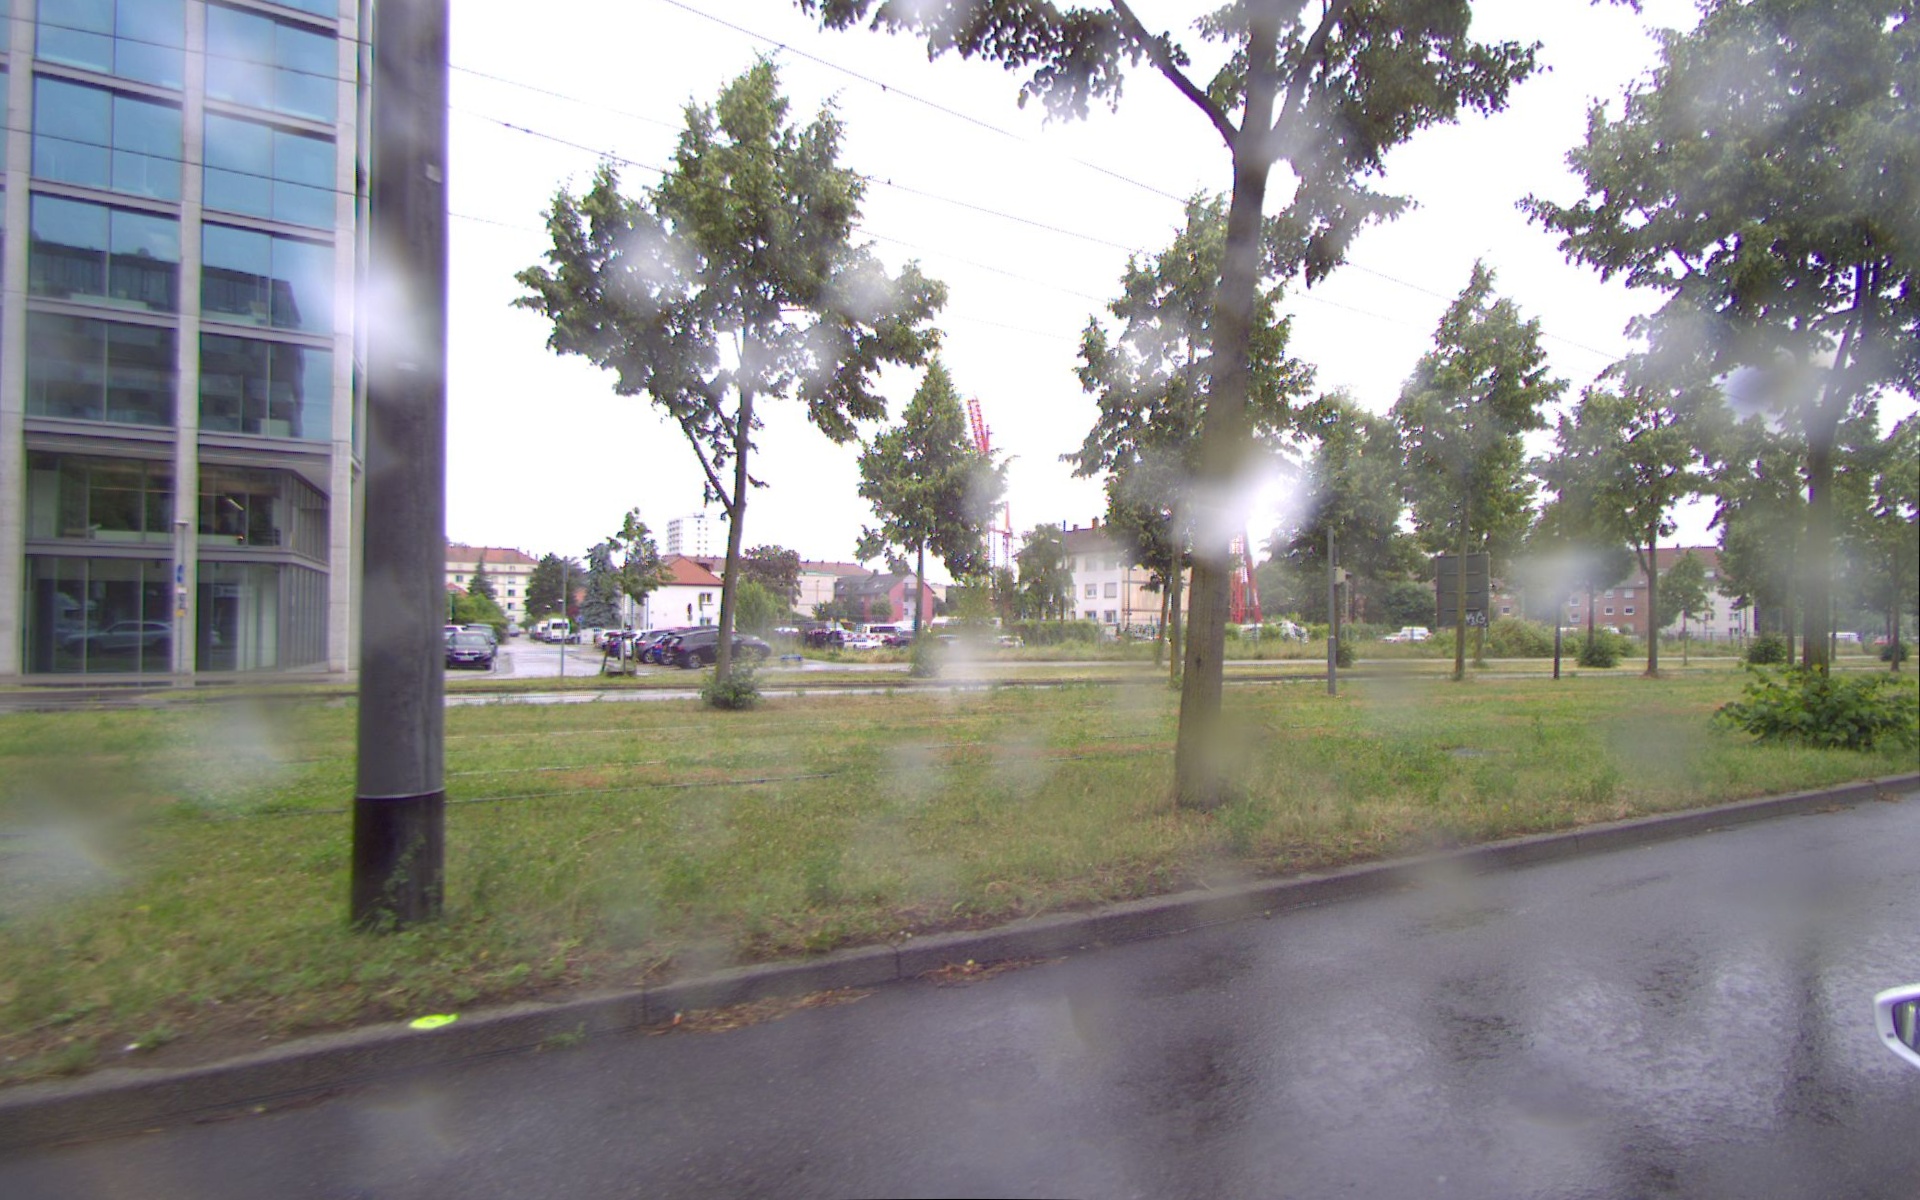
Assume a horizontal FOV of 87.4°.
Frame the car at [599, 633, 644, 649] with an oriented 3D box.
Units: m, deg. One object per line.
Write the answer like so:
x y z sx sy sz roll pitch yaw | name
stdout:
-23.708 2.846 70.418 2.825 1.030 1.152 -1 0 -28 | car

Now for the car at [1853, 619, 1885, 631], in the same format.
141.556 3.898 156.498 3.486 1.762 1.700 -1 0 37 | car

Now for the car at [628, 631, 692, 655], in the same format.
-15.366 2.206 51.524 2.978 1.087 1.285 -1 0 -27 | car

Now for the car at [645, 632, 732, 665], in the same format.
-11.803 2.079 43.673 3.438 1.256 1.373 -1 0 -27 | car

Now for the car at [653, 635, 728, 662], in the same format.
-12.323 2.209 45.938 3.177 1.082 1.182 -1 0 -27 | car

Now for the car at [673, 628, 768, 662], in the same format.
-9.845 1.825 41.324 3.607 1.256 1.497 -1 0 -23 | car

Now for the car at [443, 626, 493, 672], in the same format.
-19.765 1.927 40.418 1.721 1.630 3.777 -1 0 -26 | car

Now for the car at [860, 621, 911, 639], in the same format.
-6.090 2.407 81.966 3.849 1.368 1.685 -1 0 -25 | car

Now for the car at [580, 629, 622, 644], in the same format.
-26.769 2.729 74.996 2.825 1.030 1.152 -1 0 -28 | car

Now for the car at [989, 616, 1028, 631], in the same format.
4.236 2.060 87.539 3.202 1.215 1.184 -1 0 -25 | car

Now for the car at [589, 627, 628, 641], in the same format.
-28.144 2.692 80.377 2.825 1.030 1.152 -1 0 -28 | car

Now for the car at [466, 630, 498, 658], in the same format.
-30.065 2.727 63.153 1.721 1.630 4.209 -1 0 -26 | car

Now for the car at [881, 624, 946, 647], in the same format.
-3.020 2.272 65.319 3.849 1.368 1.685 -1 0 -25 | car

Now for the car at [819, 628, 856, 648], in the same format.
-9.363 2.880 76.651 1.672 1.368 3.878 -1 0 -25 | car

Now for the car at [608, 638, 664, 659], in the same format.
-17.980 2.688 55.803 2.825 1.030 1.152 -1 0 -28 | car

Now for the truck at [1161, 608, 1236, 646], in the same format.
37.015 4.100 155.518 6.107 5.468 13.251 -1 0 39 | truck

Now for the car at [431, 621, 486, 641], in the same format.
-44.370 2.768 88.911 4.192 1.630 1.728 -1 0 -34 | car

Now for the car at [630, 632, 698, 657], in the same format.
-14.362 2.158 48.784 2.978 1.087 1.285 -1 0 -27 | car

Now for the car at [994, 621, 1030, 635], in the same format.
4.296 2.324 83.451 2.770 1.123 1.226 -1 0 -25 | car
